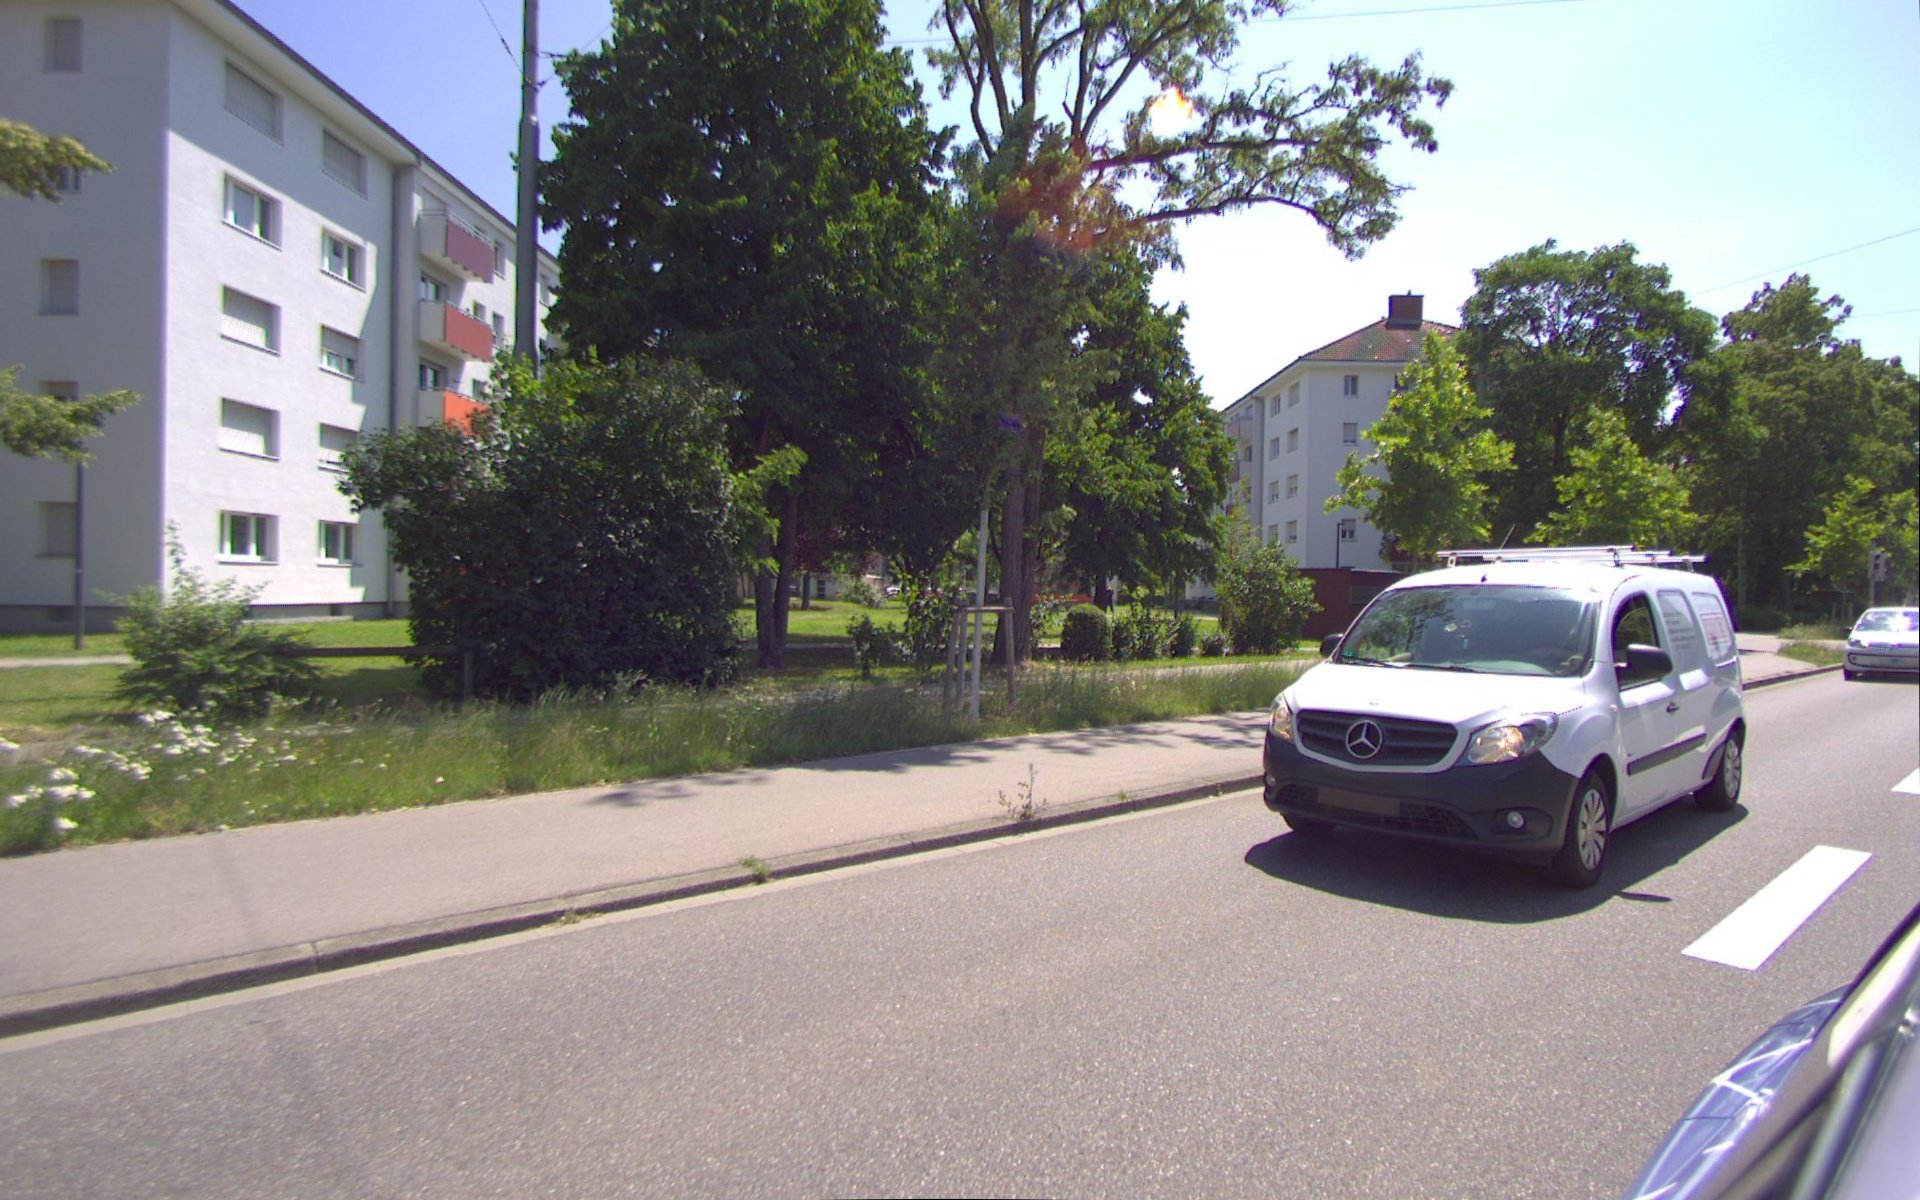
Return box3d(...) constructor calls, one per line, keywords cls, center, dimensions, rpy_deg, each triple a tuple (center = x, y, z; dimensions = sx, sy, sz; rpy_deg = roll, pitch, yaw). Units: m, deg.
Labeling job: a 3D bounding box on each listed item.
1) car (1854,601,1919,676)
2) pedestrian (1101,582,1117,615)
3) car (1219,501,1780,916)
box3d(cls="car", center=(19.745, 0.748, 20.821), dimensions=(3.438, 1.459, 1.624), rpy_deg=(0, 0, -42))
box3d(cls="pedestrian", center=(8.778, -0.101, 59.607), dimensions=(0.740, 1.943, 0.890), rpy_deg=(0, -1, -5))
box3d(cls="car", center=(3.975, 0.502, 6.946), dimensions=(4.995, 1.879, 1.807), rpy_deg=(0, -1, -42))
